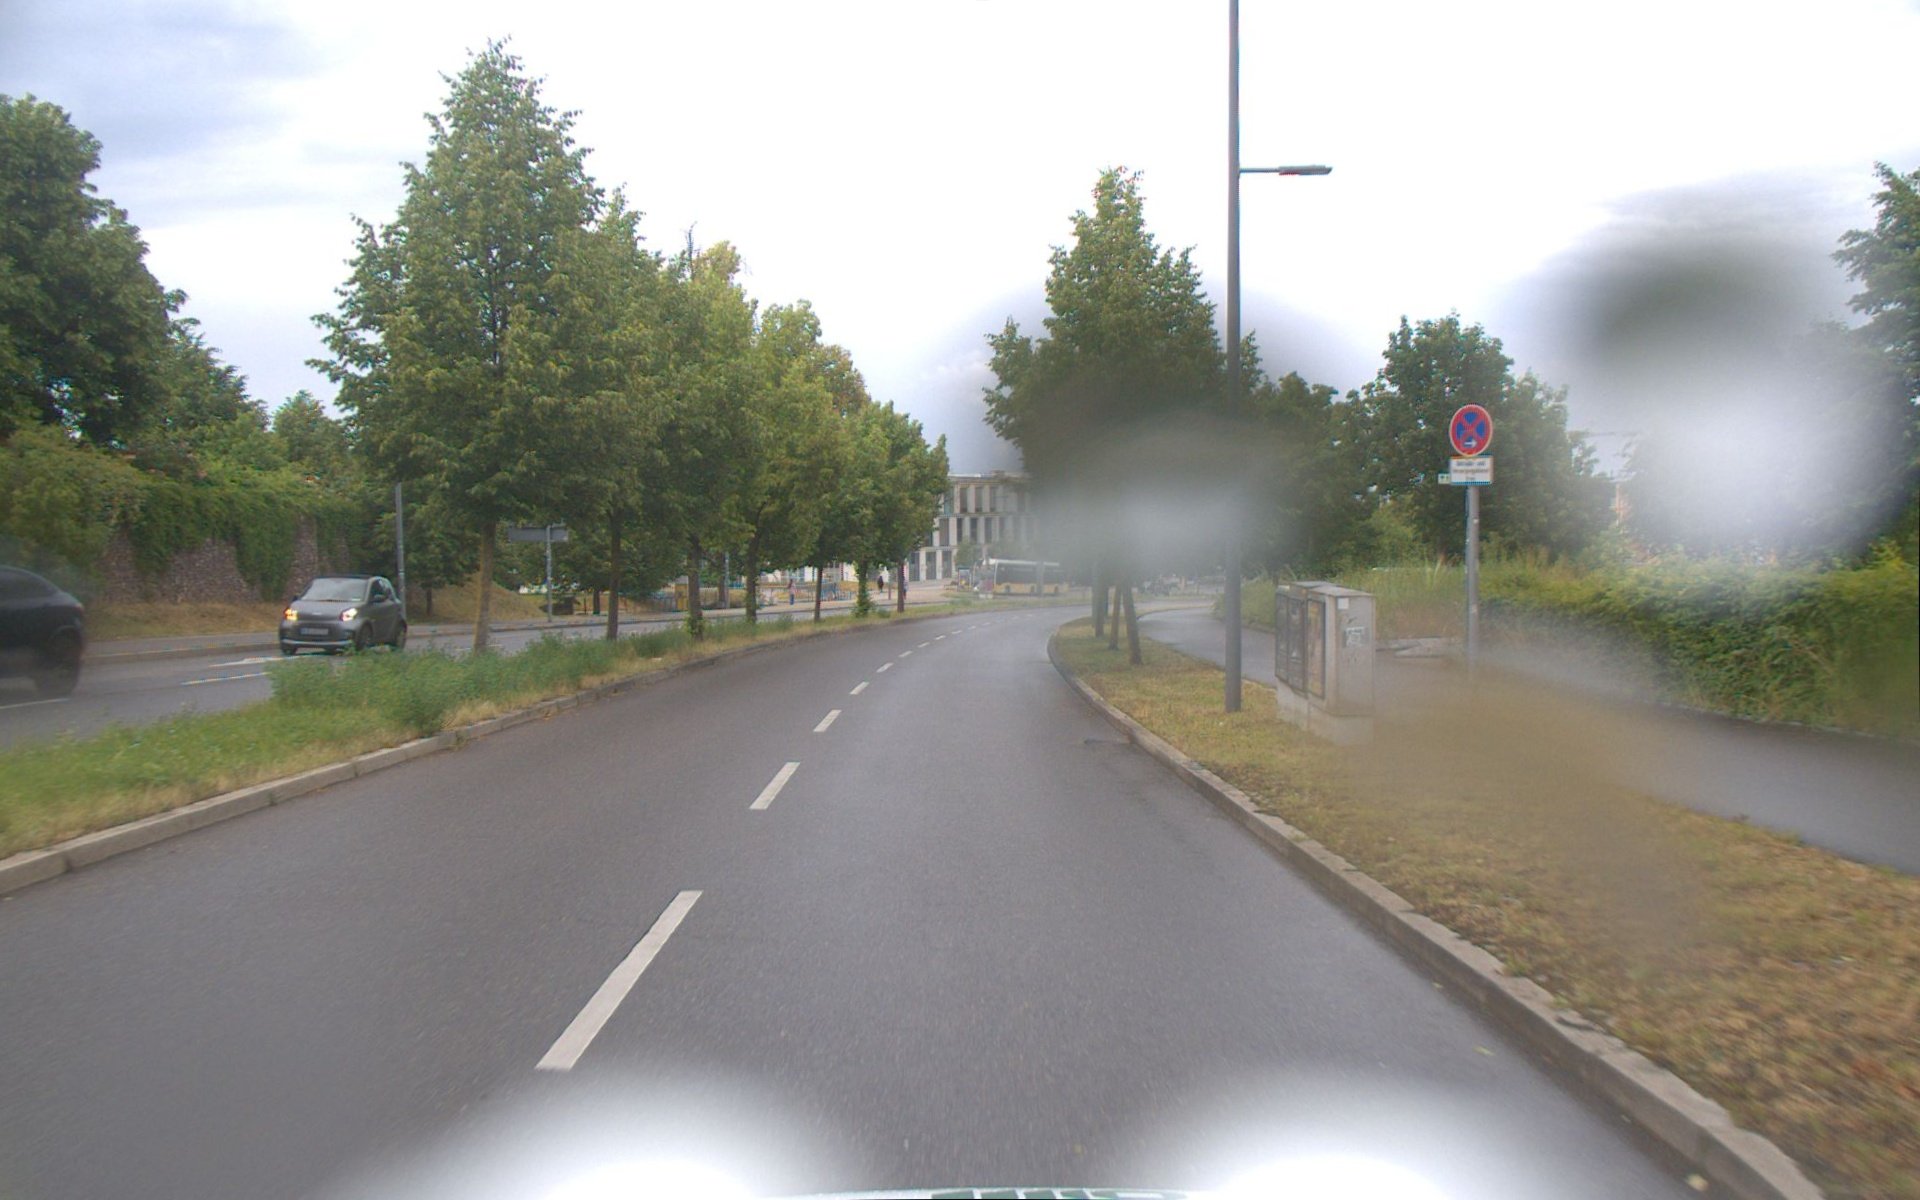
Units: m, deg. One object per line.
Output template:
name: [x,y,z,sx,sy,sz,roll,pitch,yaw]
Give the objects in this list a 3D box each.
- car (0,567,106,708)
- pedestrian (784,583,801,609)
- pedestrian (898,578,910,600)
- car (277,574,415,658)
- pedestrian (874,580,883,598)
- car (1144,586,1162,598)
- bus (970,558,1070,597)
car: [-11.946,0.413,18.962,1.843,1.623,4.766,1,0,-1]
pedestrian: [-10.739,-0.270,105.942,0.796,1.649,0.936,0,-1,12]
pedestrian: [-4.170,-0.791,123.146,0.818,1.601,0.718,1,-1,-5]
car: [-12.258,0.283,33.176,1.651,1.566,2.916,1,1,1]
pedestrian: [-7.179,-0.946,145.480,0.668,1.551,0.719,0,-1,1]
car: [23.692,-0.965,203.147,1.449,1.520,2.528,0,-1,25]
bus: [6.154,-2.162,164.319,2.730,3.416,18.207,0,-1,26]
